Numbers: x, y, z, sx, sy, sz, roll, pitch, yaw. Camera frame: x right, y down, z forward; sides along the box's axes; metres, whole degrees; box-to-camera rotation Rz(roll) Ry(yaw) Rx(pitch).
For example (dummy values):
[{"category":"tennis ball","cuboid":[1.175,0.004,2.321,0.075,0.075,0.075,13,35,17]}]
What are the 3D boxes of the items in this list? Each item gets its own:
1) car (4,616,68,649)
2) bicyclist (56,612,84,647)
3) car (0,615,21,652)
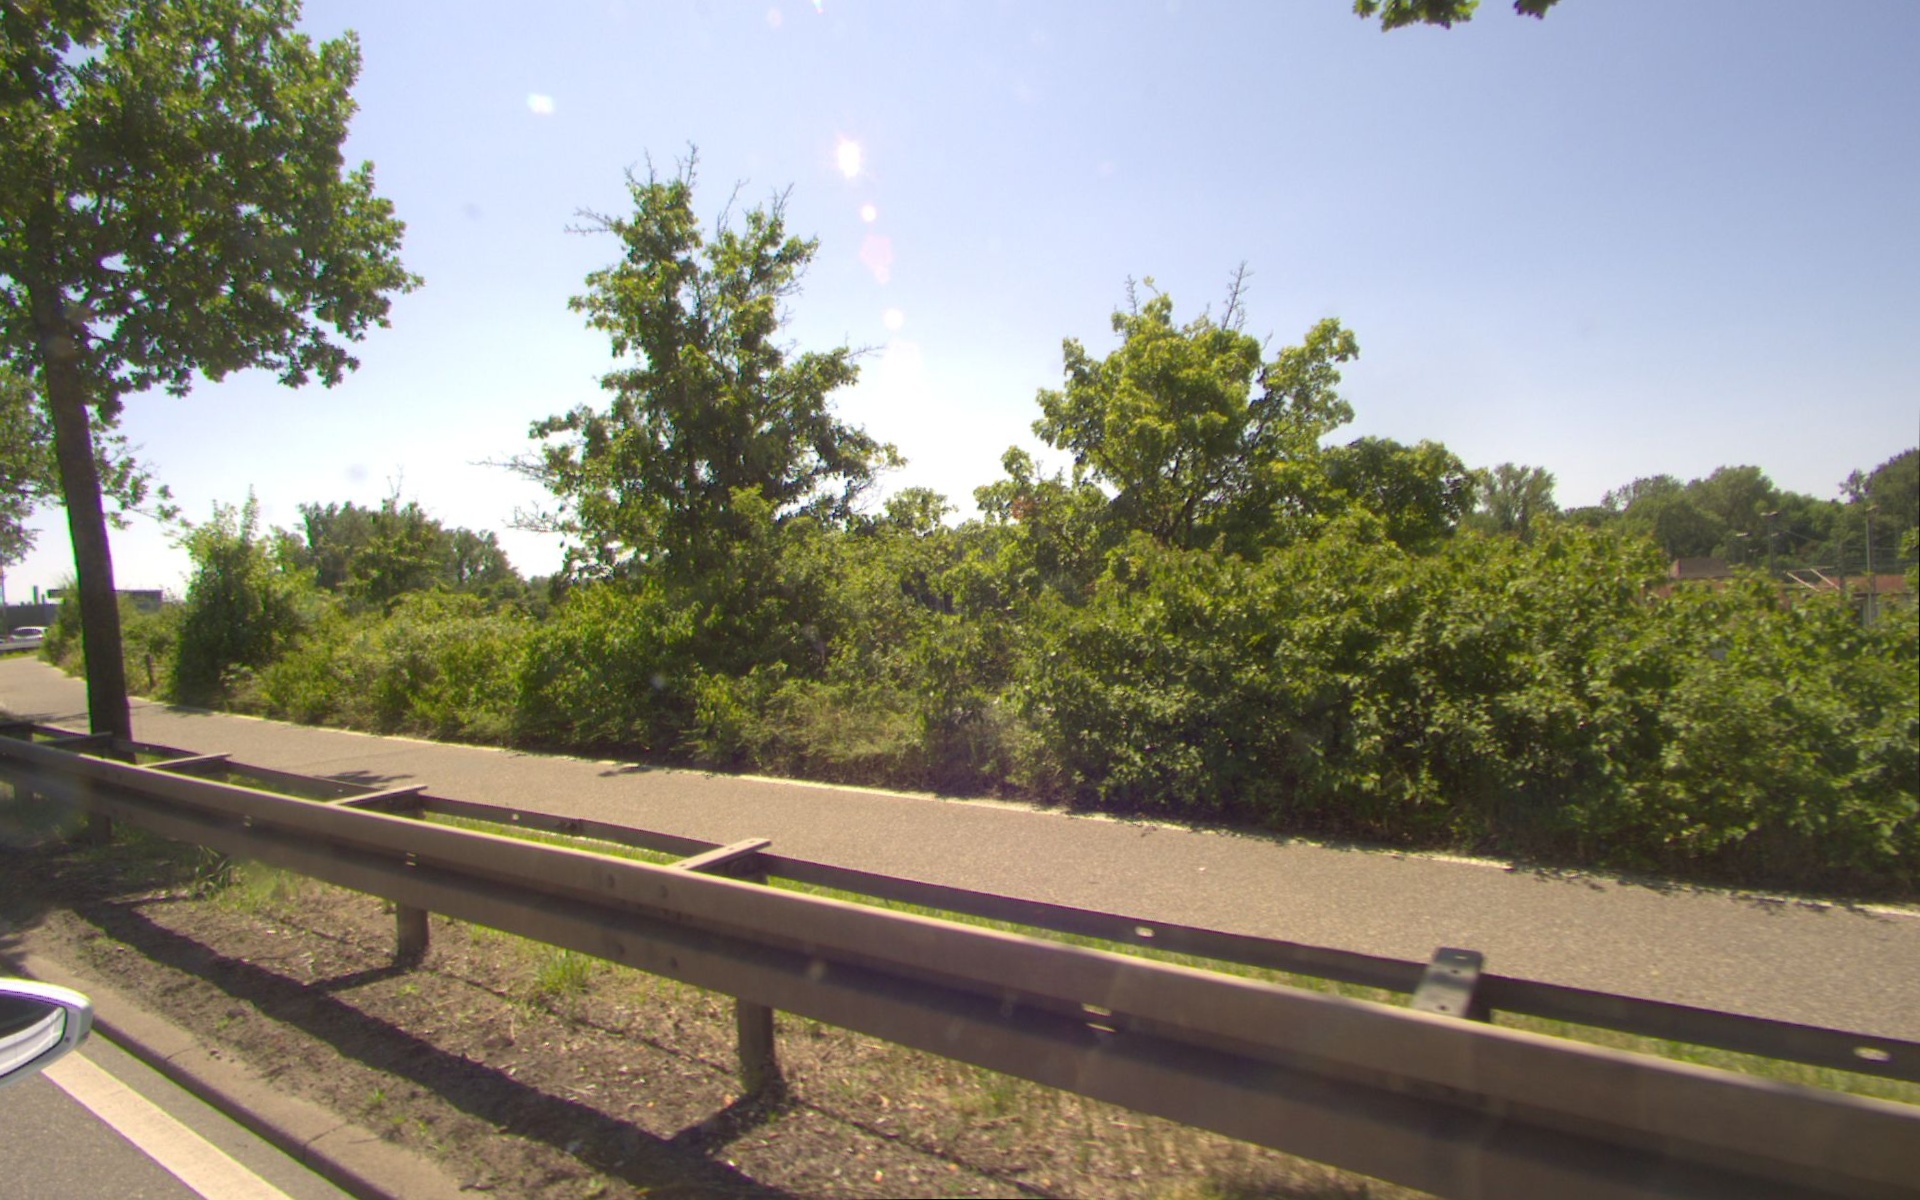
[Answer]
[{"category":"car","cuboid":[-52.738,1.836,57.243,1.974,1.790,4.725,0,-2,-34]},{"category":"bicyclist","cuboid":[-40.451,1.330,45.515,0.853,1.543,0.973,0,-1,-37]},{"category":"car","cuboid":[-47.930,1.637,49.179,1.975,1.739,4.836,1,-2,-35]}]
